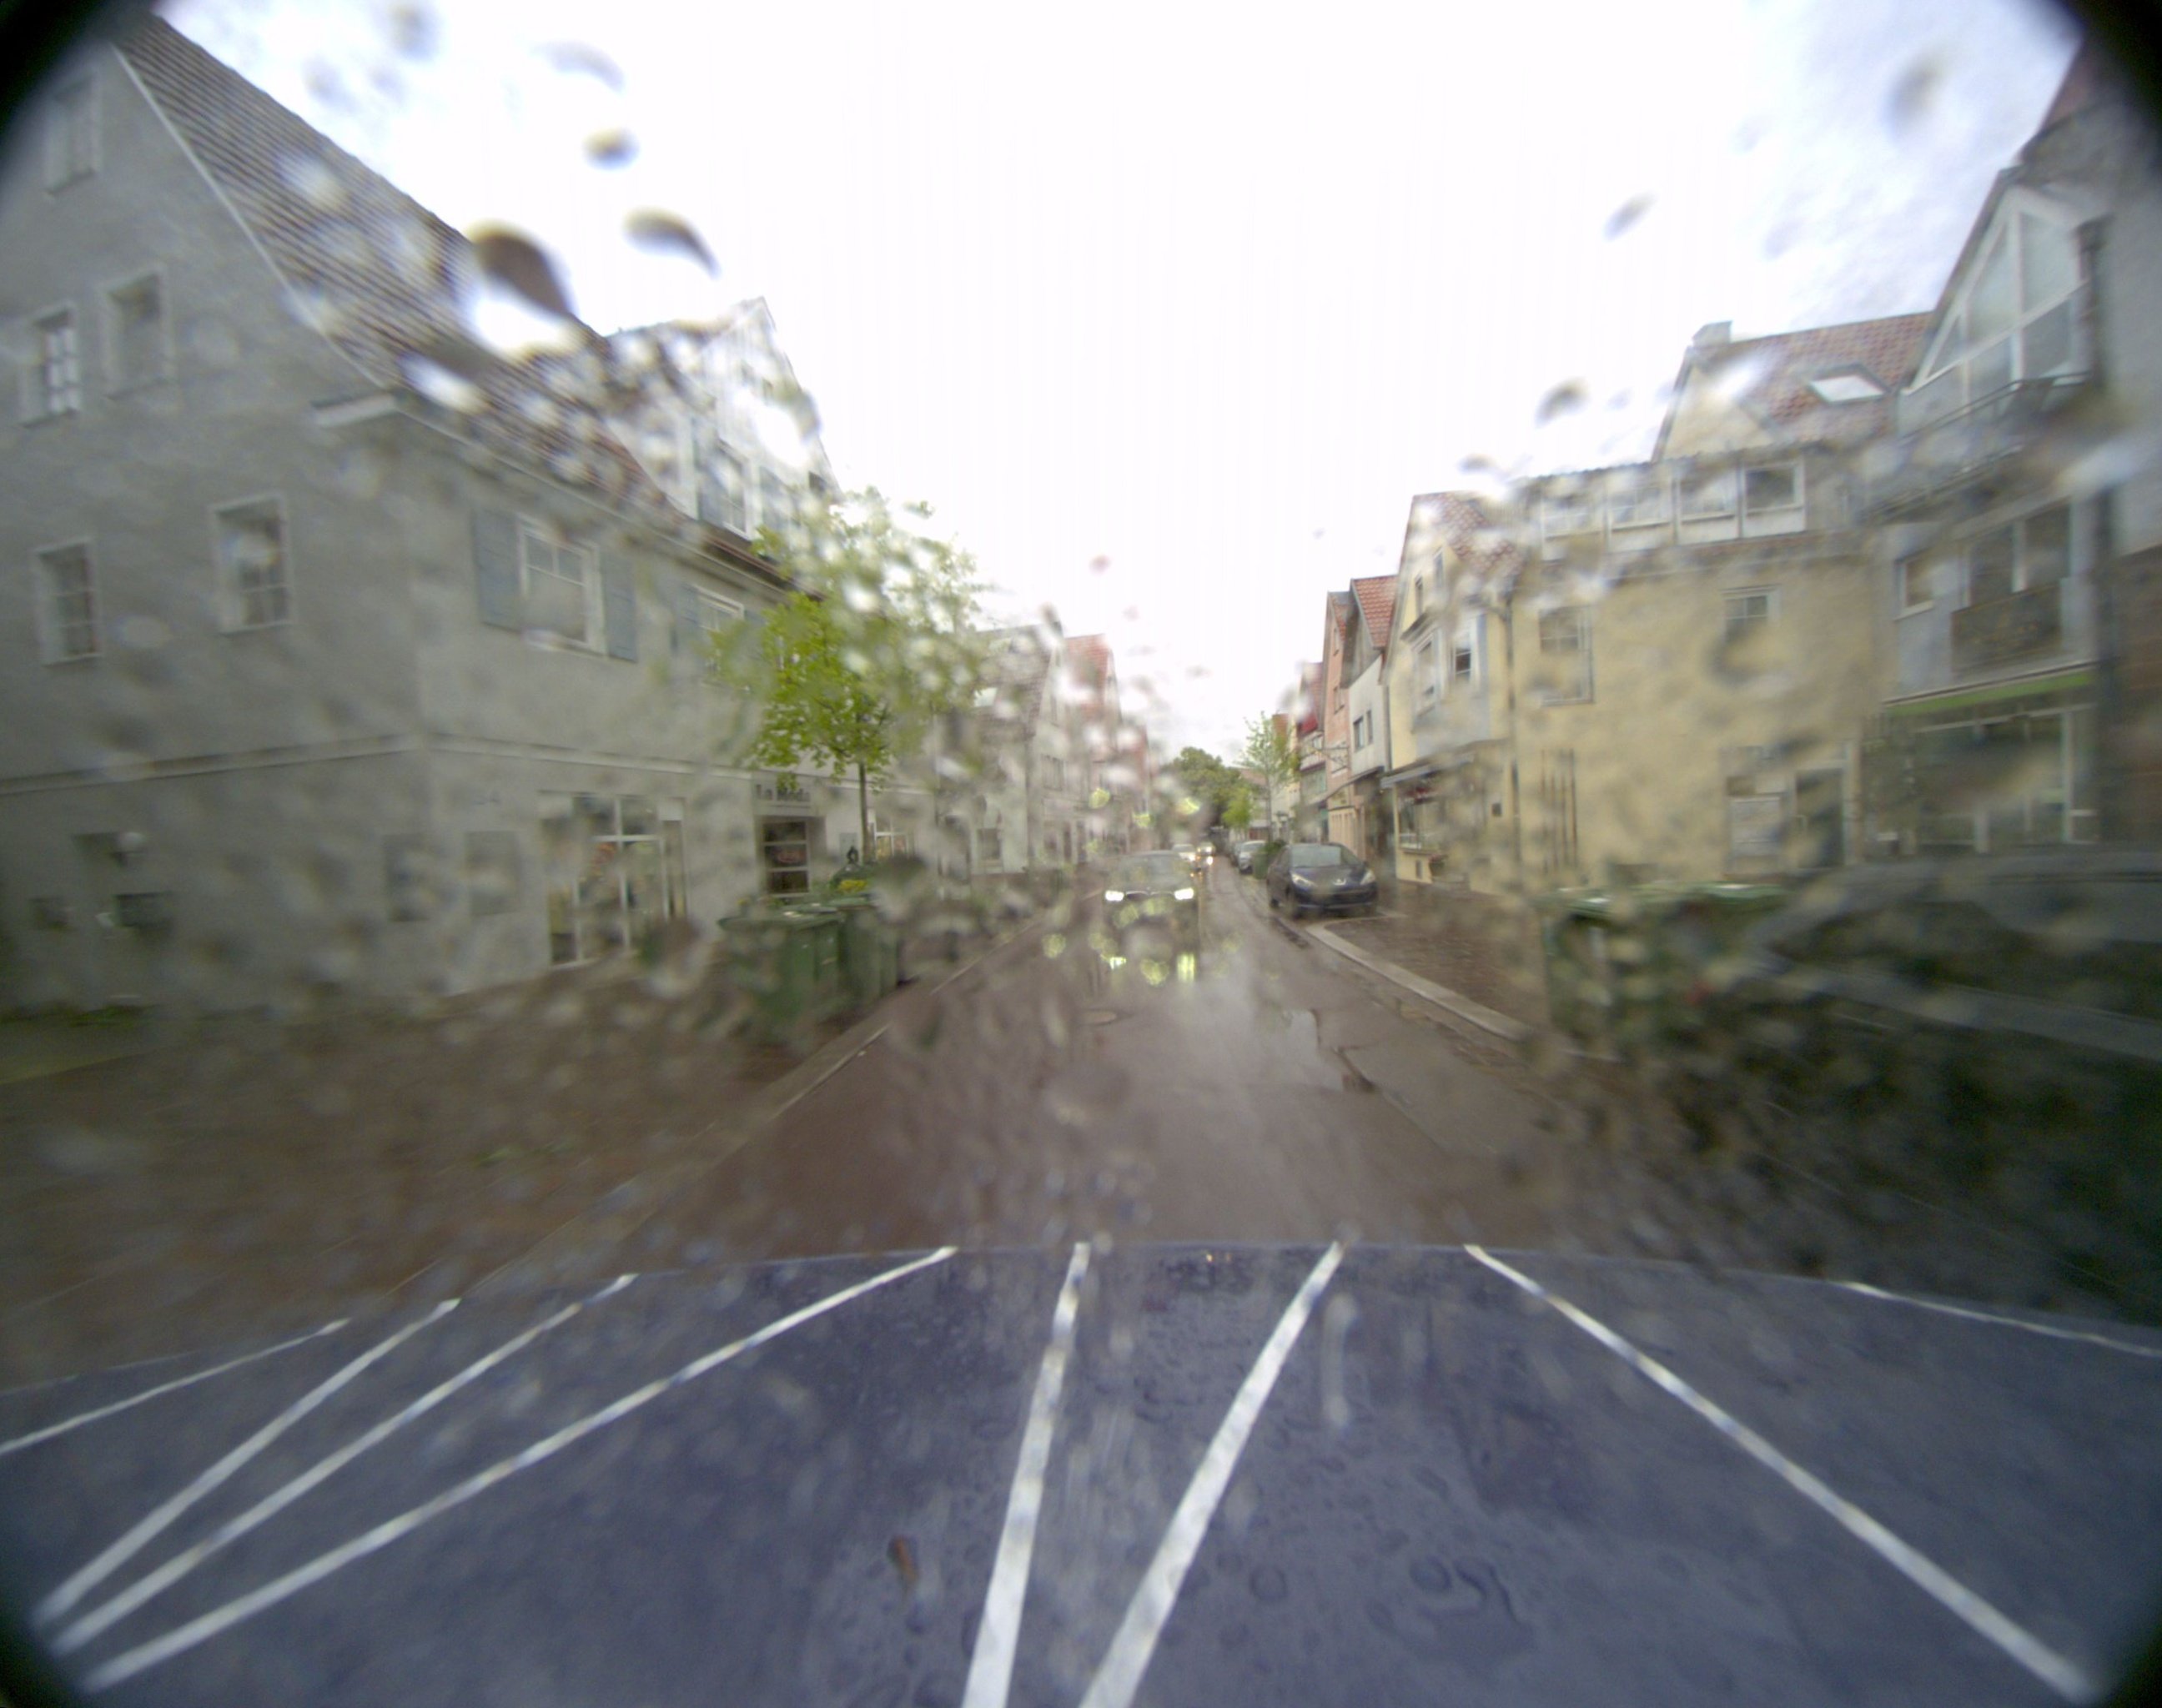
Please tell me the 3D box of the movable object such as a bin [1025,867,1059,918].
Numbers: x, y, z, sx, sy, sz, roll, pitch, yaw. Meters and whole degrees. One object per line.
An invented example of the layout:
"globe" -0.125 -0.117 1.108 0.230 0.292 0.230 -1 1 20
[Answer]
"movable object such as a bin" -0.996 0.978 19.600 0.679 1.234 0.732 -2 2 10

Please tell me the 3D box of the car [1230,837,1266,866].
"car" 10.576 -0.174 48.404 1.837 1.543 4.283 -6 1 8

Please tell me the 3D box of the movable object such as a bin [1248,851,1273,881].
"movable object such as a bin" 7.155 0.484 30.318 0.816 1.100 0.610 -5 2 6

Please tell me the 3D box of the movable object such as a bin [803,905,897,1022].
"movable object such as a bin" -2.342 1.100 7.751 0.694 1.096 0.562 -2 2 7

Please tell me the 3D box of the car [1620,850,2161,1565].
"car" 3.418 0.800 1.263 1.999 1.486 3.998 -4 1 -3

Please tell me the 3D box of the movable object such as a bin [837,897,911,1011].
"movable object such as a bin" -2.263 1.081 8.338 0.544 1.149 0.577 -2 2 7

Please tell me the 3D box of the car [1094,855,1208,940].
"car" 1.494 0.801 16.153 1.998 1.398 4.895 -2 1 6

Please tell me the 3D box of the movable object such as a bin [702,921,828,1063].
"movable object such as a bin" -2.651 1.148 6.429 0.730 1.074 0.577 -2 2 7

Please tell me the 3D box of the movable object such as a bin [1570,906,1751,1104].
"movable object such as a bin" 3.744 0.943 4.964 0.631 1.116 0.733 -2 2 2

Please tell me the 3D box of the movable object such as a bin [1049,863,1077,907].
"movable object such as a bin" -0.527 0.909 22.500 0.659 1.232 0.621 -2 2 10

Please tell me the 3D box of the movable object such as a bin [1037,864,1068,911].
"movable object such as a bin" -0.783 0.924 20.810 0.679 1.225 0.565 -2 3 10

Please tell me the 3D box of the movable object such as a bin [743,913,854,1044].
"movable object such as a bin" -2.604 1.139 7.060 0.730 1.096 0.562 -2 2 7

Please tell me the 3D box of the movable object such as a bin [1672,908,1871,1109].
"movable object such as a bin" 4.424 0.958 4.922 0.631 1.116 0.733 -2 2 2

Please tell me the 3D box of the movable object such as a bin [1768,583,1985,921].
"movable object such as a bin" 5.139 -0.619 4.964 0.631 2.003 0.746 -2 3 2

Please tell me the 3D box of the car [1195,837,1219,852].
"car" 14.073 -1.047 84.731 1.996 1.445 4.004 -2 2 20

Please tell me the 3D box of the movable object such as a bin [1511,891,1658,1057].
"movable object such as a bin" 3.799 0.878 5.780 0.631 1.107 0.733 -2 2 2

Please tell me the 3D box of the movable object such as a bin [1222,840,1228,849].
"movable object such as a bin" 19.542 -1.294 102.863 0.544 1.143 0.586 -1 3 37

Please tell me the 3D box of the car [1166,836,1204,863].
"car" 6.457 -0.281 46.793 1.997 1.445 4.002 -2 2 12

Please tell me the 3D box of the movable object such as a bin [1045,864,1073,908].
"movable object such as a bin" -0.621 0.918 21.920 0.659 1.238 0.543 -2 3 10

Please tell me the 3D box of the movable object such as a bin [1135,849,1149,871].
"movable object such as a bin" 3.466 0.320 43.202 0.719 1.195 0.578 -2 3 12

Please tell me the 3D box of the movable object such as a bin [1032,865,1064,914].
"movable object such as a bin" -0.880 0.952 20.244 0.679 1.243 0.565 -2 3 10

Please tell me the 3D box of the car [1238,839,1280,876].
"car" 8.761 0.136 37.637 1.830 1.558 4.002 -2 2 12

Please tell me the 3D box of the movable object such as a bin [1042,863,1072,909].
"movable object such as a bin" -0.666 0.889 21.363 0.679 1.249 0.543 -2 3 10

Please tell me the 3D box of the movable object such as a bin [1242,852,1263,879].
"movable object such as a bin" 7.370 0.486 32.662 0.816 1.100 0.610 -2 2 6

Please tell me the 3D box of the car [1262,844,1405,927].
"car" 5.229 0.571 16.315 1.998 1.463 4.001 -3 1 5

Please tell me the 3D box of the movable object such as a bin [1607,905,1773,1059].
"movable object such as a bin" 4.584 0.938 5.772 0.631 1.045 0.734 -2 -1 2
